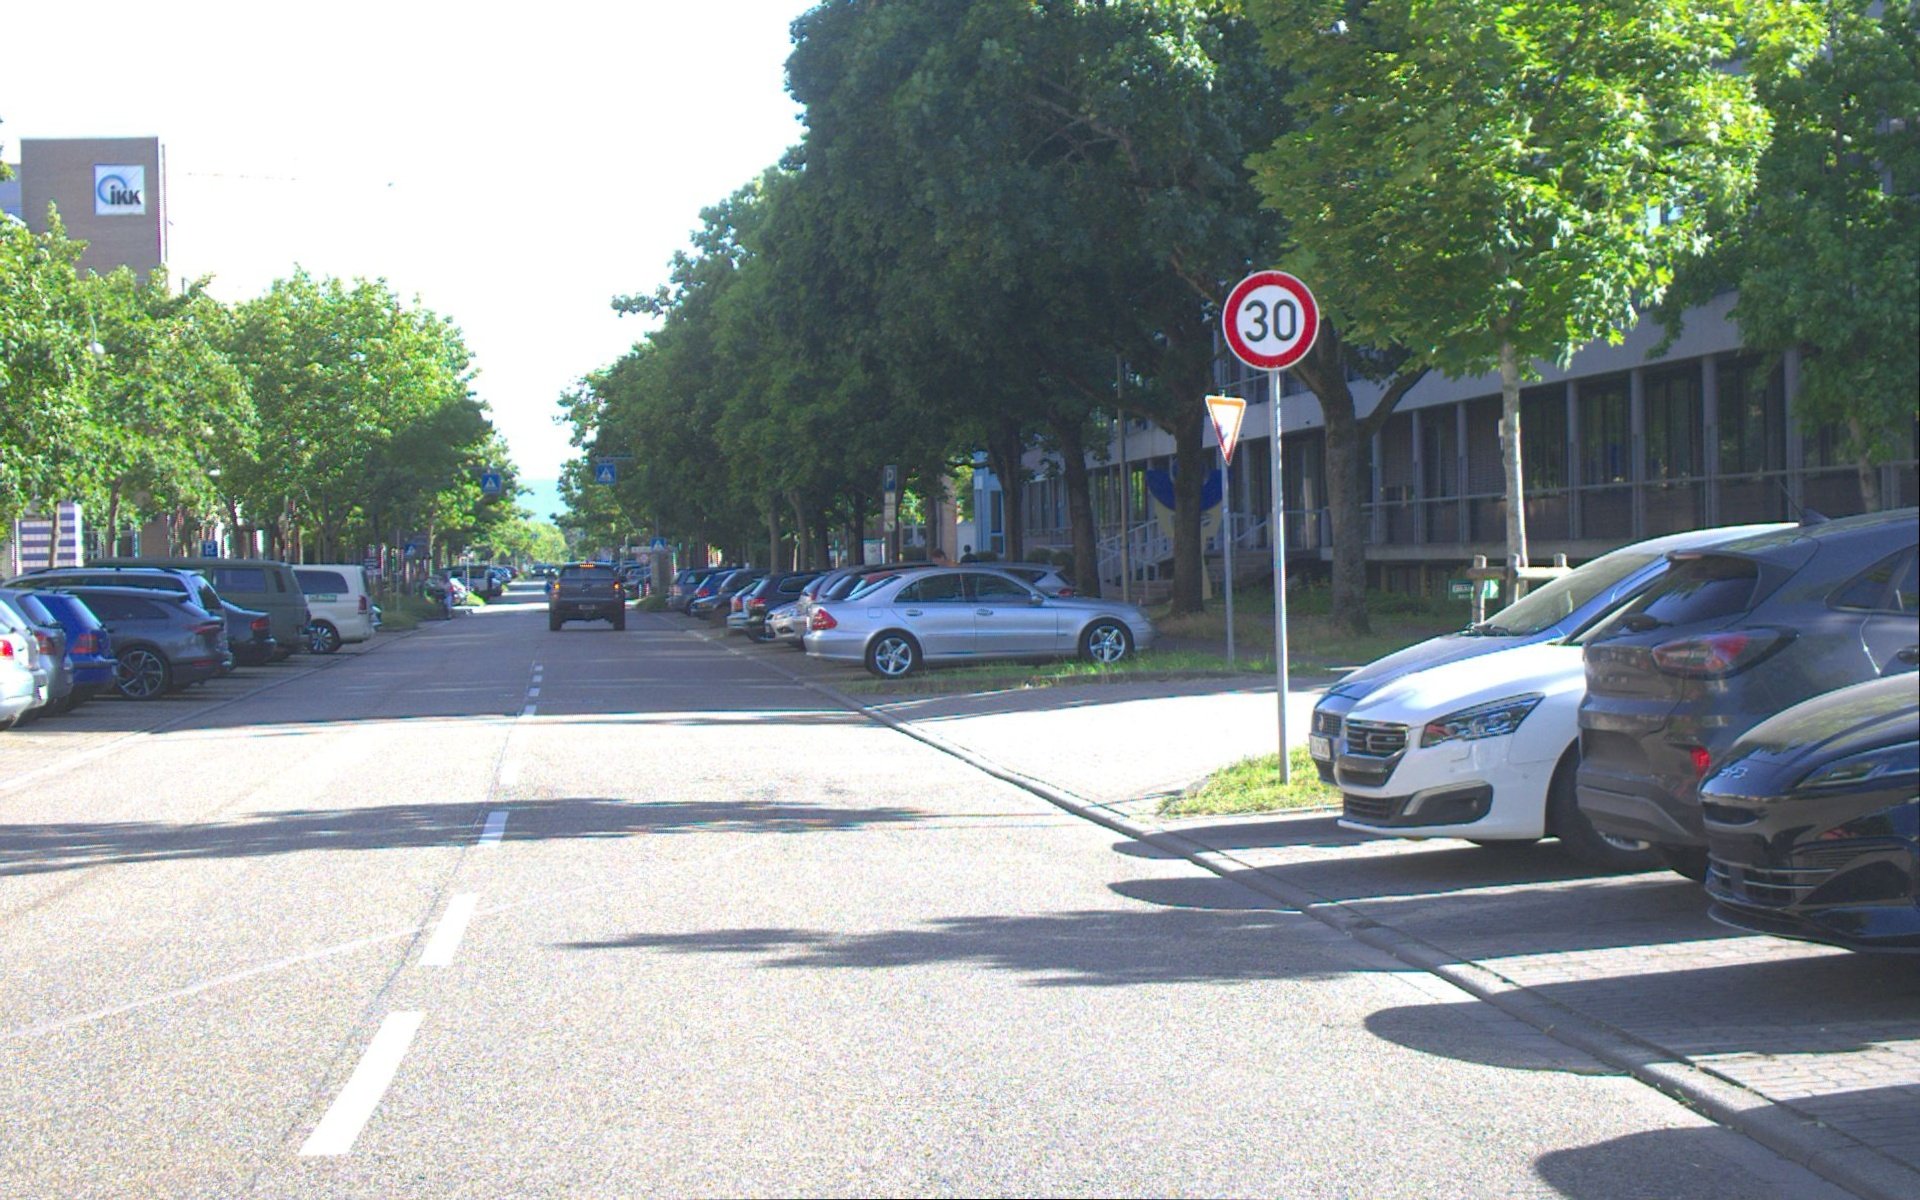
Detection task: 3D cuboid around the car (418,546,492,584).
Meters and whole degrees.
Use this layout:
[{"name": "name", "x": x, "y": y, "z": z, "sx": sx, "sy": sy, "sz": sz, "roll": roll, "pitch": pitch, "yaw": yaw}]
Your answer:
[{"name": "car", "x": -29.211, "y": -2.037, "z": 198.974, "sx": 3.986, "sy": 2.007, "sz": 2.000, "roll": -2, "pitch": 1, "yaw": -2}]

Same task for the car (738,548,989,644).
[{"name": "car", "x": -1.881, "y": -0.091, "z": 65.952, "sx": 4.590, "sy": 1.488, "sz": 1.763, "roll": -4, "pitch": 1, "yaw": -6}]

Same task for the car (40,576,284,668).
[{"name": "car", "x": -12.681, "y": 0.338, "z": 54.734, "sx": 3.725, "sy": 1.422, "sz": 1.725, "roll": 0, "pitch": 1, "yaw": -12}]

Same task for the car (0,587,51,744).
[{"name": "car", "x": -10.618, "y": 0.608, "z": 32.589, "sx": 3.725, "sy": 1.442, "sz": 1.877, "roll": 0, "pitch": 1, "yaw": -10}]

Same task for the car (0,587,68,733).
[{"name": "car", "x": -11.054, "y": 0.594, "z": 34.917, "sx": 3.725, "sy": 1.442, "sz": 1.860, "roll": 0, "pitch": 1, "yaw": -10}]

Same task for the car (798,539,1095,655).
[{"name": "car", "x": -0.230, "y": -0.064, "z": 54.186, "sx": 4.515, "sy": 1.537, "sz": 1.922, "roll": -3, "pitch": 1, "yaw": -1}]

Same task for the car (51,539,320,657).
[{"name": "car", "x": -13.957, "y": -0.052, "z": 62.144, "sx": 4.487, "sy": 2.083, "sz": 2.083, "roll": 0, "pitch": 1, "yaw": -4}]

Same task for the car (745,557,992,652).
[{"name": "car", "x": -1.715, "y": 0.073, "z": 63.652, "sx": 4.284, "sy": 1.488, "sz": 2.004, "roll": -3, "pitch": 1, "yaw": -8}]

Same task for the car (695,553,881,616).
[{"name": "car", "x": -4.684, "y": -0.428, "z": 93.338, "sx": 4.824, "sy": 1.415, "sz": 2.032, "roll": -3, "pitch": 1, "yaw": -8}]

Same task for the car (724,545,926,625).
[{"name": "car", "x": -2.832, "y": -0.313, "z": 71.473, "sx": 3.969, "sy": 1.415, "sz": 1.711, "roll": -3, "pitch": 1, "yaw": -8}]

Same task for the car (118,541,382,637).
[{"name": "car", "x": -14.848, "y": -0.241, "z": 72.135, "sx": 5.257, "sy": 1.960, "sz": 1.943, "roll": 0, "pitch": 1, "yaw": -6}]

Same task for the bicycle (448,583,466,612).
[{"name": "bicycle", "x": -19.094, "y": -0.088, "z": 130.531, "sx": 0.532, "sy": 1.068, "sz": 1.300, "roll": -2, "pitch": 1, "yaw": -4}]

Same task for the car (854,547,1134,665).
[{"name": "car", "x": 0.453, "y": 0.072, "z": 49.325, "sx": 3.837, "sy": 1.442, "sz": 1.922, "roll": -3, "pitch": 1, "yaw": -2}]

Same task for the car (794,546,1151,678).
[{"name": "car", "x": 0.132, "y": 0.143, "z": 46.332, "sx": 4.577, "sy": 1.470, "sz": 1.747, "roll": -4, "pitch": 1, "yaw": -5}]

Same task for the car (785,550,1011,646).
[{"name": "car", "x": -1.121, "y": -0.045, "z": 61.367, "sx": 3.742, "sy": 1.488, "sz": 1.617, "roll": -3, "pitch": 1, "yaw": -10}]

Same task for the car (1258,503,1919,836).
[{"name": "car", "x": 3.840, "y": 0.327, "z": 18.988, "sx": 3.947, "sy": 1.509, "sz": 1.702, "roll": -4, "pitch": 0, "yaw": -12}]

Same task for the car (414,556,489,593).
[{"name": "car", "x": -28.961, "y": -1.459, "z": 195.906, "sx": 3.986, "sy": 2.007, "sz": 2.000, "roll": -2, "pitch": 1, "yaw": -2}]

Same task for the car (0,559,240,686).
[{"name": "car", "x": -12.311, "y": 0.296, "z": 47.519, "sx": 4.320, "sy": 1.711, "sz": 1.962, "roll": 0, "pitch": 1, "yaw": -1}]

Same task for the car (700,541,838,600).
[{"name": "car", "x": -5.669, "y": -0.882, "z": 101.669, "sx": 3.949, "sy": 1.509, "sz": 1.813, "roll": -3, "pitch": 1, "yaw": -5}]

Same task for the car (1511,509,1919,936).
[{"name": "car", "x": 4.392, "y": 0.355, "z": 13.841, "sx": 3.875, "sy": 1.509, "sz": 1.751, "roll": -4, "pitch": 0, "yaw": -6}]

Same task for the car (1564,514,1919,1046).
[{"name": "car", "x": 4.549, "y": 0.376, "z": 11.291, "sx": 4.549, "sy": 1.509, "sz": 2.159, "roll": -4, "pitch": 0, "yaw": -6}]

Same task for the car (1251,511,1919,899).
[{"name": "car", "x": 3.906, "y": 0.385, "z": 16.370, "sx": 4.548, "sy": 1.509, "sz": 1.983, "roll": -4, "pitch": 0, "yaw": -12}]

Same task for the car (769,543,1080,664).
[{"name": "car", "x": -0.560, "y": 0.038, "z": 51.760, "sx": 4.514, "sy": 1.537, "sz": 1.922, "roll": -3, "pitch": 1, "yaw": -2}]

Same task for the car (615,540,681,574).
[{"name": "car", "x": -19.875, "y": -2.740, "z": 218.865, "sx": 3.986, "sy": 2.007, "sz": 2.000, "roll": -2, "pitch": 1, "yaw": -8}]

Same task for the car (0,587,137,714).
[{"name": "car", "x": -11.542, "y": 0.568, "z": 39.801, "sx": 3.725, "sy": 1.422, "sz": 1.841, "roll": 0, "pitch": 1, "yaw": -7}]

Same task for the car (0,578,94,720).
[{"name": "car", "x": -11.463, "y": 0.520, "z": 37.457, "sx": 3.725, "sy": 1.503, "sz": 1.860, "roll": 0, "pitch": 1, "yaw": -7}]

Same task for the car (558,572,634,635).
[{"name": "car", "x": -9.793, "y": 0.074, "z": 92.334, "sx": 1.993, "sy": 1.634, "sz": 4.001, "roll": 0, "pitch": 0, "yaw": -7}]

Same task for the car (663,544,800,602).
[{"name": "car", "x": -7.705, "y": -0.902, "z": 115.781, "sx": 4.350, "sy": 1.698, "sz": 1.813, "roll": -3, "pitch": 1, "yaw": -9}]

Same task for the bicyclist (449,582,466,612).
[{"name": "bicyclist", "x": -19.093, "y": -0.115, "z": 130.534, "sx": 0.532, "sy": 1.087, "sz": 0.794, "roll": -2, "pitch": 1, "yaw": -4}]

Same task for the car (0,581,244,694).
[{"name": "car", "x": -11.656, "y": 0.474, "z": 44.945, "sx": 4.401, "sy": 1.422, "sz": 1.773, "roll": 0, "pitch": 1, "yaw": -8}]
